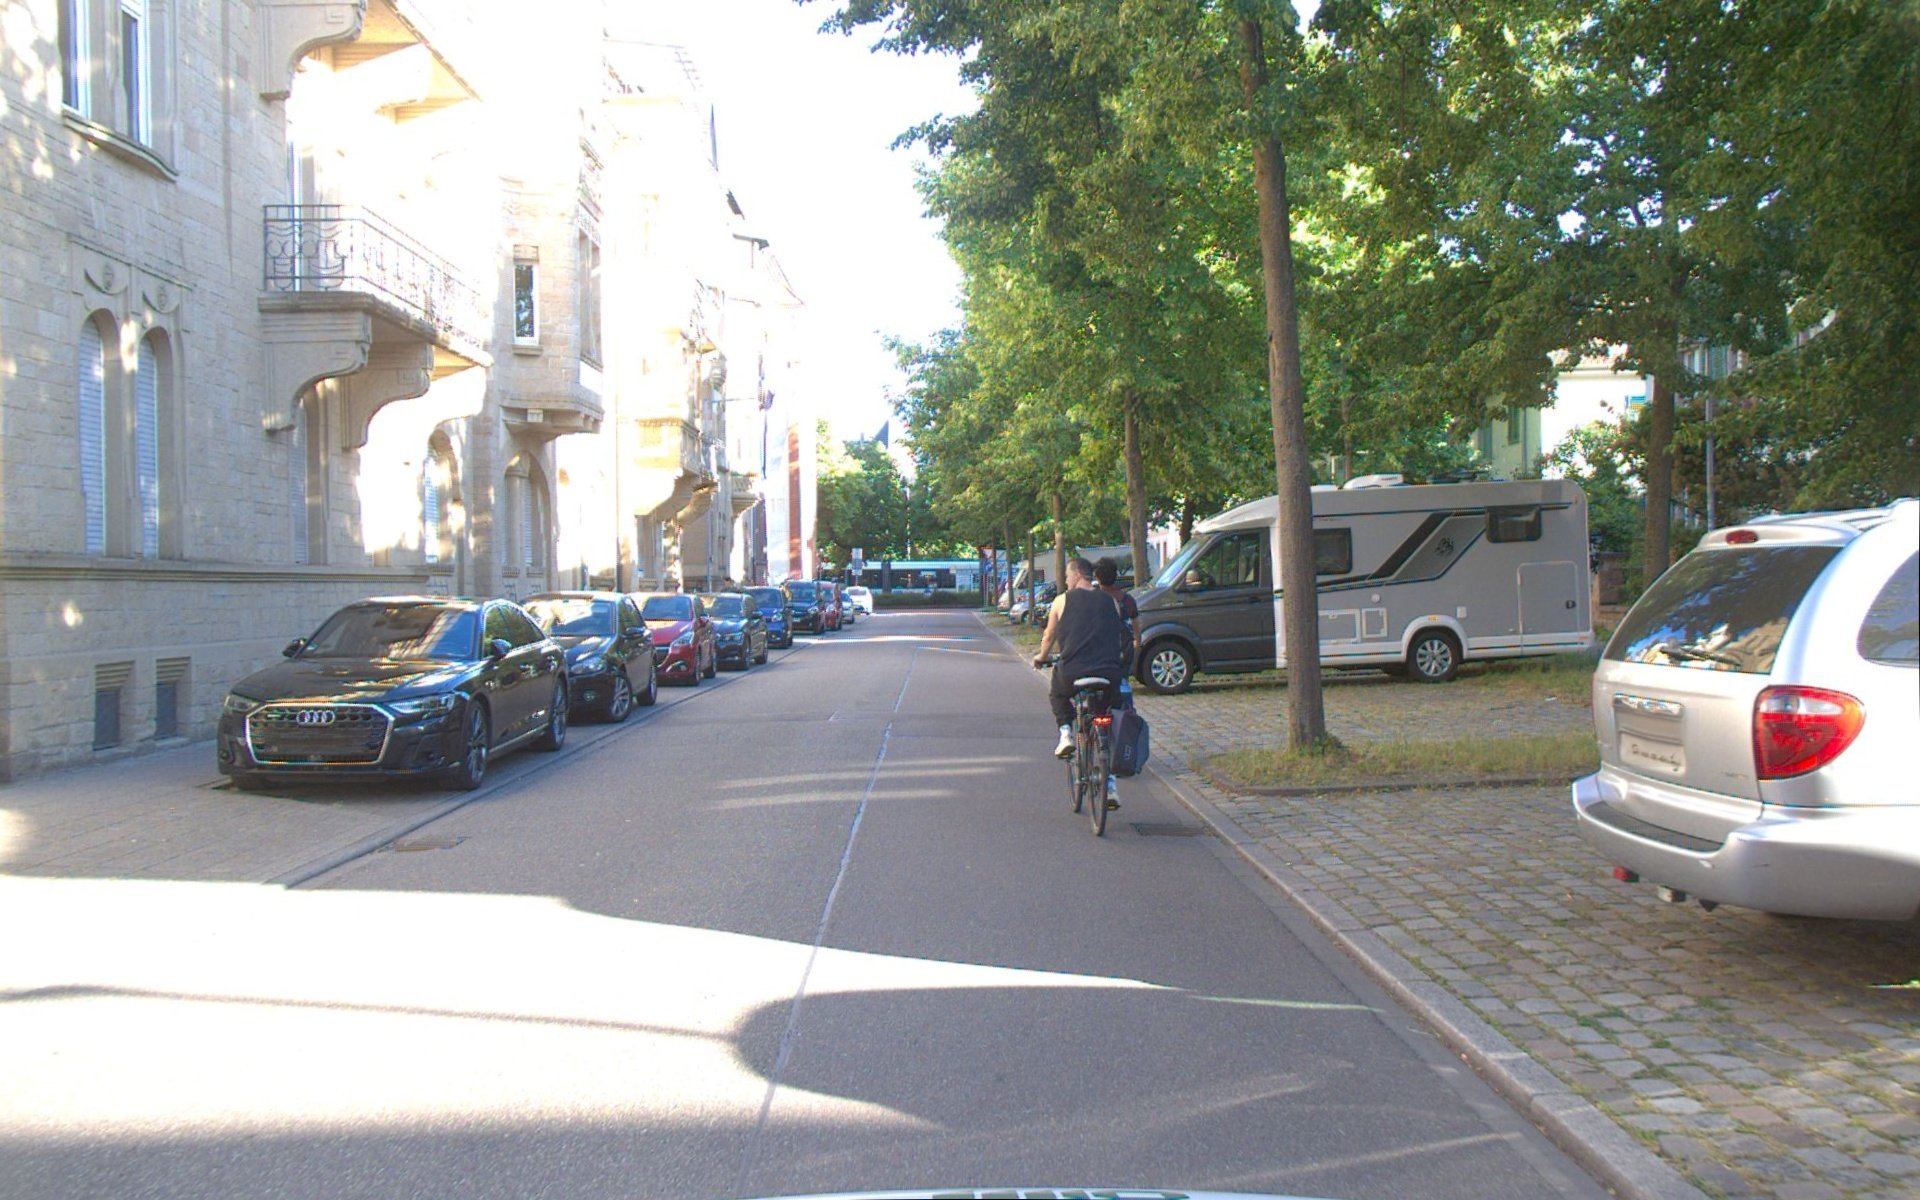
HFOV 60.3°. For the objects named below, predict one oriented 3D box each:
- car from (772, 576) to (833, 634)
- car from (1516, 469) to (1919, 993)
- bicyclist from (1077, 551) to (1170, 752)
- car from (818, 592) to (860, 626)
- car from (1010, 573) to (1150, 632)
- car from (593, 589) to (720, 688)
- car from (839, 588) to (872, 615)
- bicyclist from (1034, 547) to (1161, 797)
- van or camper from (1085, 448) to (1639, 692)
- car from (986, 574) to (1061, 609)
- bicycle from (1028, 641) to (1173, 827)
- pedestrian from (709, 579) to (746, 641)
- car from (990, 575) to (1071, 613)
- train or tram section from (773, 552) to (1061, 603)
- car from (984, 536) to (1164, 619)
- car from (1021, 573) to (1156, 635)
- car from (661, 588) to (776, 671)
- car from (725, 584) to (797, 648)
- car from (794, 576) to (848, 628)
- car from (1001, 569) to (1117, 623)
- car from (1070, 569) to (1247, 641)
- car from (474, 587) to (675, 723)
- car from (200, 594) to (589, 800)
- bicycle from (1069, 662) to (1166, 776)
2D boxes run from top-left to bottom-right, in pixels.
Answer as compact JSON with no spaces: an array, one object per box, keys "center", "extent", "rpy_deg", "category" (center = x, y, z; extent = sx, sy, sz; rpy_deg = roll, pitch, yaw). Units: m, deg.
[{"center":[-5.247,0.144,55.634],"extent":[1.607,1.814,4.354],"rpy_deg":[1,1,0],"category":"car"},{"center":[4.784,0.334,6.506],"extent":[4.525,1.739,1.833],"rpy_deg":[-3,1,0],"category":"car"},{"center":[1.378,0.419,14.081],"extent":[0.675,1.655,0.998],"rpy_deg":[0,0,-1],"category":"bicyclist"},{"center":[-5.350,0.367,73.359],"extent":[1.551,1.367,4.131],"rpy_deg":[1,1,0],"category":"car"},{"center":[3.558,0.100,49.539],"extent":[4.053,1.628,1.702],"rpy_deg":[-1,-1,1],"category":"car"},{"center":[-4.944,0.584,27.369],"extent":[1.596,1.478,3.836],"rpy_deg":[0,1,-3],"category":"car"},{"center":[-5.731,0.063,91.070],"extent":[1.551,1.399,4.131],"rpy_deg":[1,1,0],"category":"car"},{"center":[0.896,0.461,10.958],"extent":[0.715,1.575,0.884],"rpy_deg":[1,-1,-2],"category":"bicyclist"},{"center":[5.388,-0.410,23.049],"extent":[7.001,2.692,2.465],"rpy_deg":[-4,1,1],"category":"van or camper"},{"center":[3.458,-0.464,90.254],"extent":[3.907,1.835,1.833],"rpy_deg":[0,0,-3],"category":"car"},{"center":[0.889,0.835,10.968],"extent":[0.722,1.072,1.955],"rpy_deg":[1,0,-2],"category":"bicycle"},{"center":[-6.658,0.282,47.389],"extent":[0.919,1.773,0.735],"rpy_deg":[0,0,-1],"category":"pedestrian"},{"center":[3.498,-0.276,82.368],"extent":[3.907,1.835,1.833],"rpy_deg":[0,0,-3],"category":"car"},{"center":[-3.232,-1.709,133.641],"extent":[23.484,3.773,4.255],"rpy_deg":[0,0,-23],"category":"train or tram section"},{"center":[4.639,-0.909,67.961],"extent":[7.006,3.030,2.463],"rpy_deg":[-3,0,-4],"category":"car"},{"center":[3.628,0.134,47.208],"extent":[3.695,1.628,1.691],"rpy_deg":[-1,-1,1],"category":"car"},{"center":[-4.784,0.540,33.337],"extent":[1.641,1.455,4.550],"rpy_deg":[1,1,0],"category":"car"},{"center":[-5.118,0.382,42.693],"extent":[1.563,1.514,2.735],"rpy_deg":[3,1,-2],"category":"car"},{"center":[-5.211,0.047,62.560],"extent":[1.654,1.857,4.273],"rpy_deg":[1,1,0],"category":"car"},{"center":[3.611,-0.139,60.689],"extent":[4.002,1.678,1.640],"rpy_deg":[-4,0,-3],"category":"car"},{"center":[4.843,0.146,40.681],"extent":[4.136,1.628,1.691],"rpy_deg":[-1,-1,1],"category":"car"},{"center":[-4.637,0.614,20.410],"extent":[1.662,1.479,4.026],"rpy_deg":[-1,0,-2],"category":"car"},{"center":[-4.667,0.703,14.490],"extent":[1.774,1.451,4.897],"rpy_deg":[2,0,-1],"category":"car"},{"center":[1.339,0.997,14.312],"extent":[0.620,0.813,1.832],"rpy_deg":[-1,1,-1],"category":"bicycle"}]
